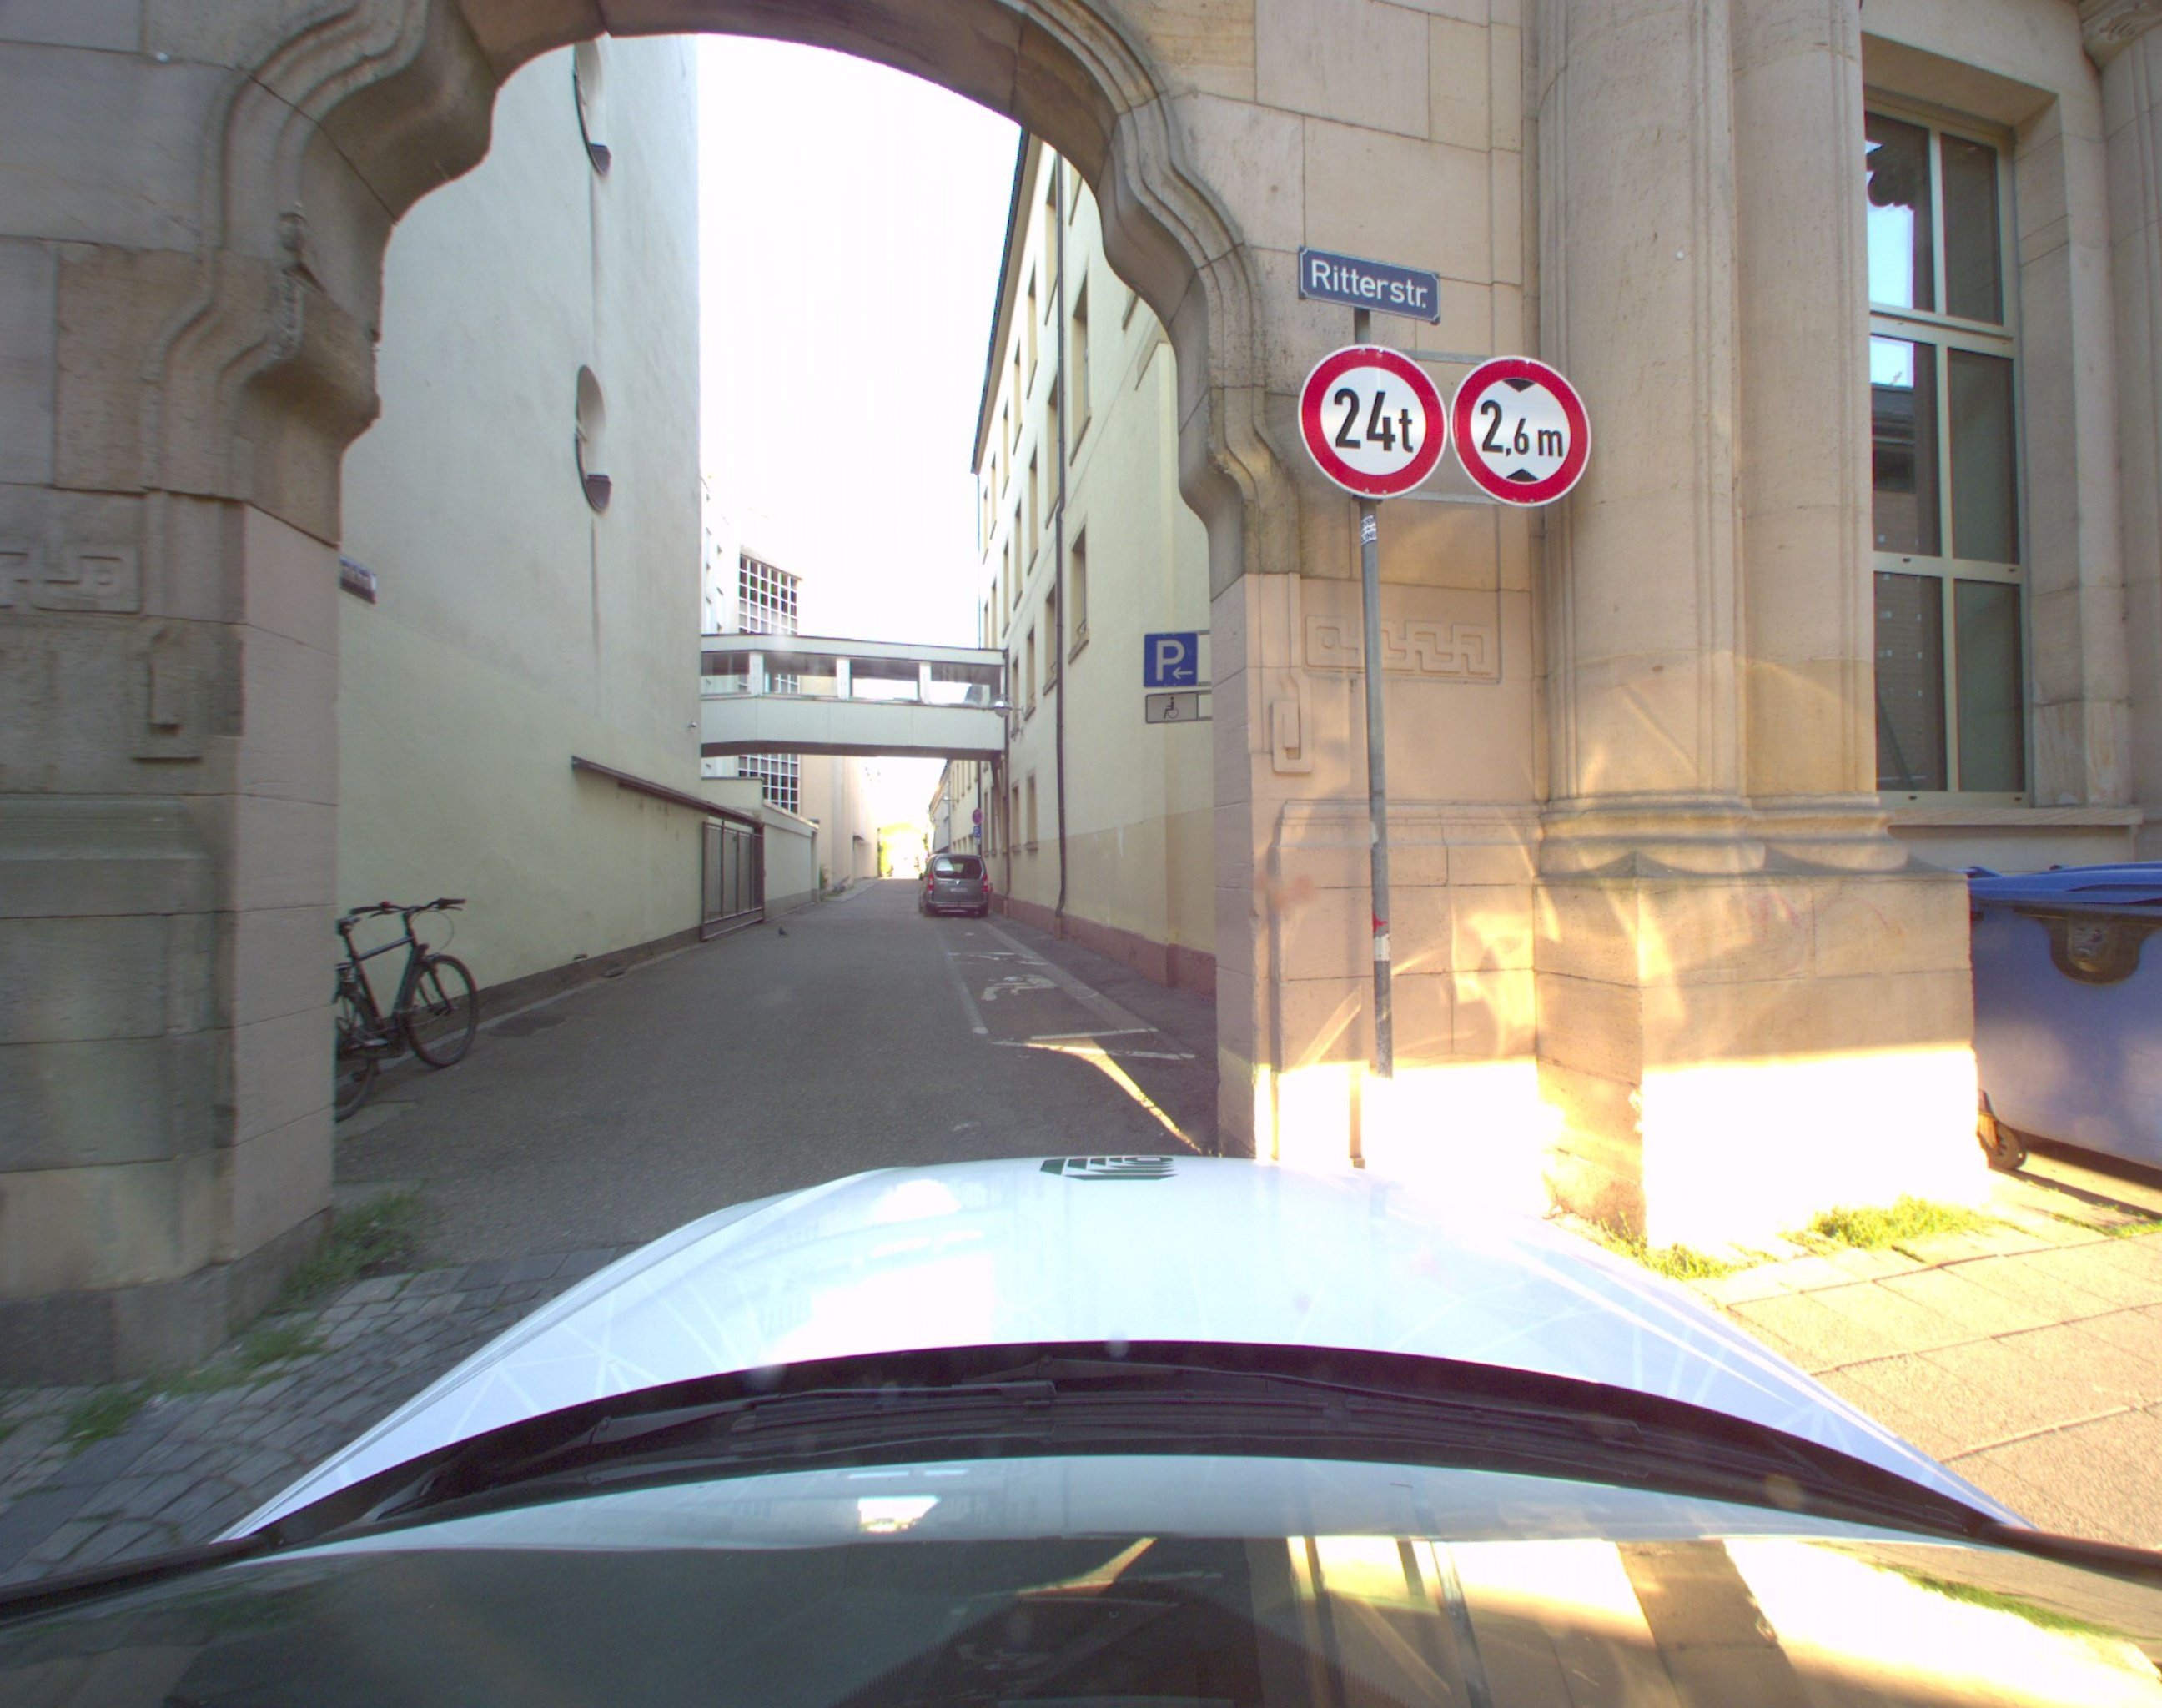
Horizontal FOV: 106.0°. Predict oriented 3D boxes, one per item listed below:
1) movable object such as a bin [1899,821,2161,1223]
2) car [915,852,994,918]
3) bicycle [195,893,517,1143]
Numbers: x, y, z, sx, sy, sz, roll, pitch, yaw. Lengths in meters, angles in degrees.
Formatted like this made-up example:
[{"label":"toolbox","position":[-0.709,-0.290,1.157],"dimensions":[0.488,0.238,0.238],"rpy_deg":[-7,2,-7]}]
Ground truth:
[{"label":"movable object such as a bin","position":[4.497,0.602,3.372],"dimensions":[1.183,1.474,1.074],"rpy_deg":[-1,1,-8]},{"label":"car","position":[-3.878,0.889,24.424],"dimensions":[1.858,1.756,4.141],"rpy_deg":[3,-1,-15]},{"label":"bicycle","position":[-4.016,0.807,4.715],"dimensions":[0.595,1.079,1.748],"rpy_deg":[0,0,-12]}]
